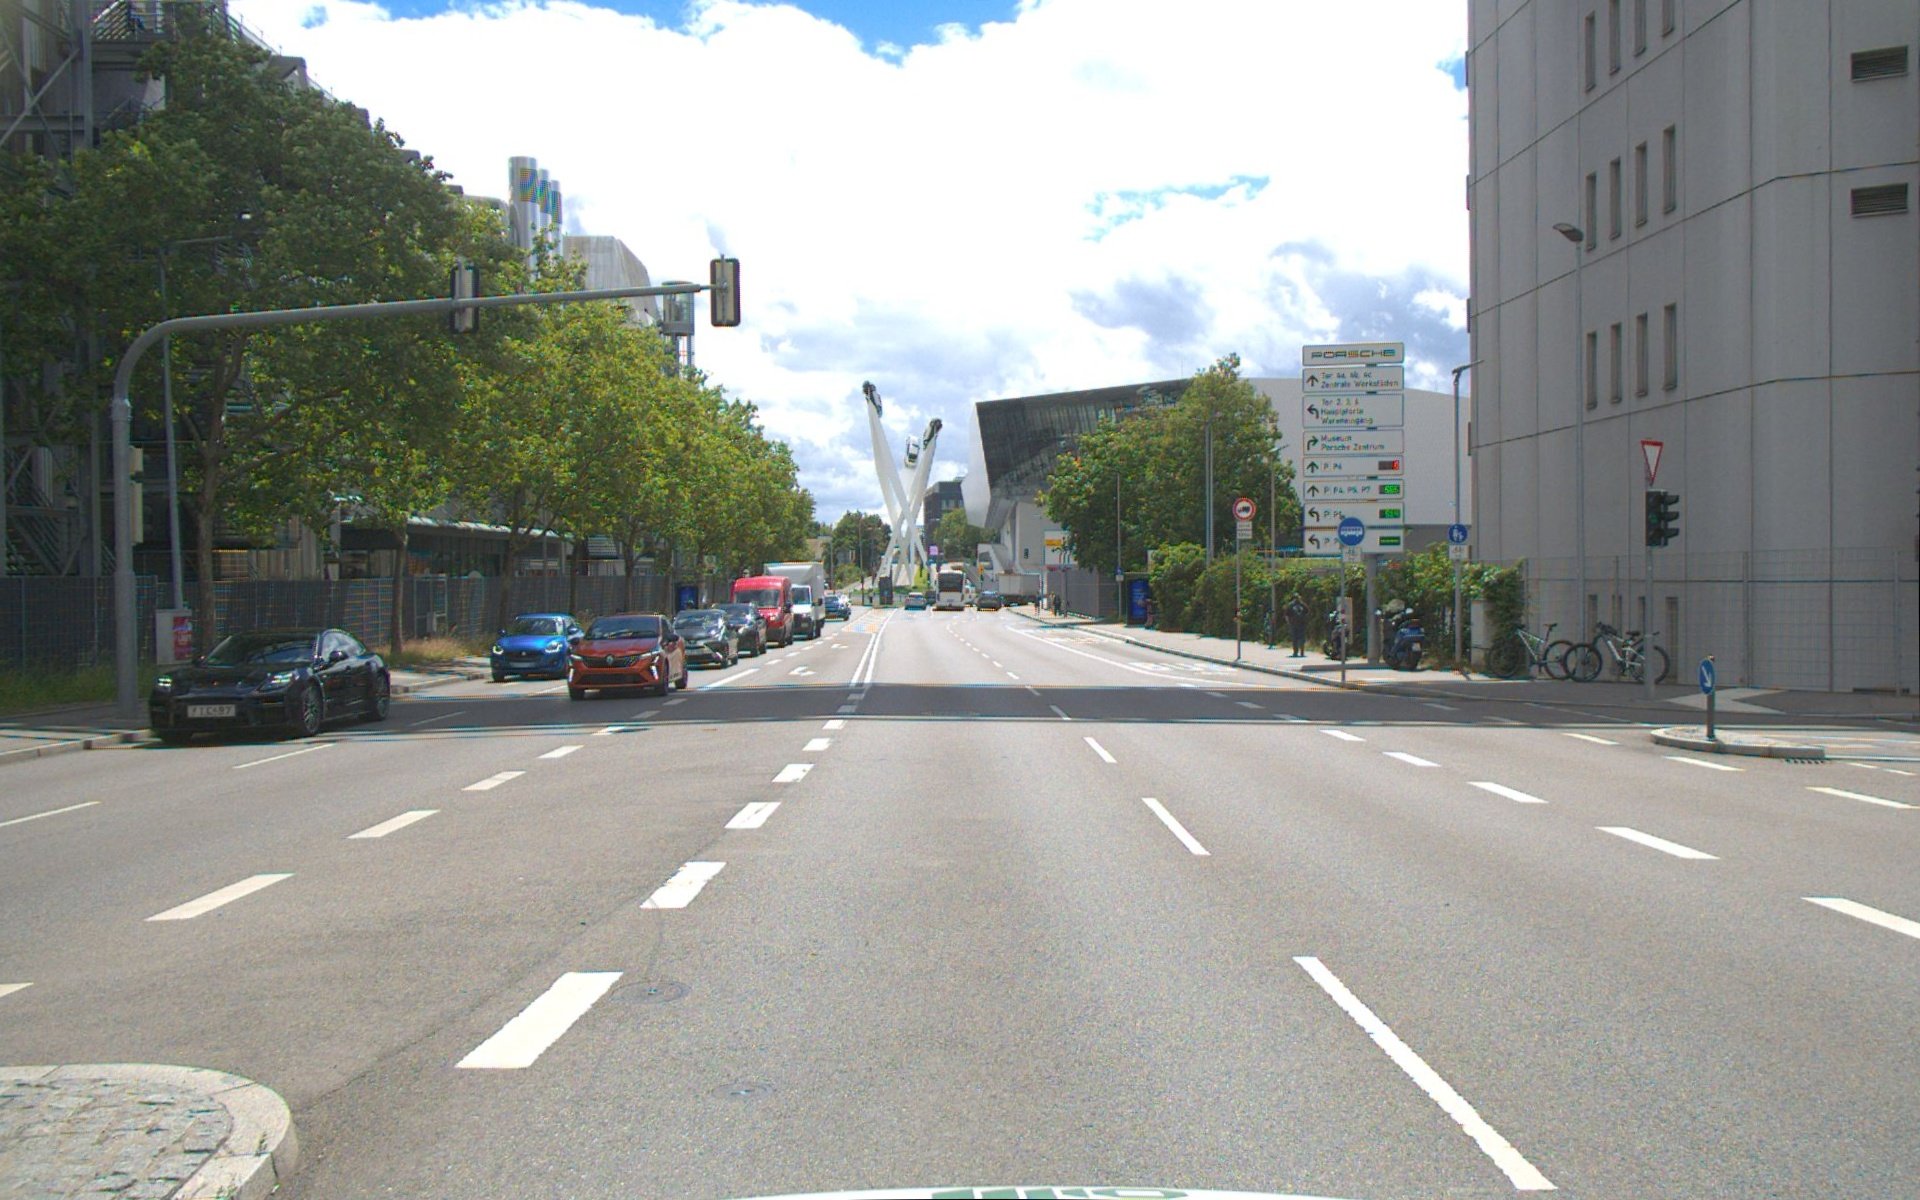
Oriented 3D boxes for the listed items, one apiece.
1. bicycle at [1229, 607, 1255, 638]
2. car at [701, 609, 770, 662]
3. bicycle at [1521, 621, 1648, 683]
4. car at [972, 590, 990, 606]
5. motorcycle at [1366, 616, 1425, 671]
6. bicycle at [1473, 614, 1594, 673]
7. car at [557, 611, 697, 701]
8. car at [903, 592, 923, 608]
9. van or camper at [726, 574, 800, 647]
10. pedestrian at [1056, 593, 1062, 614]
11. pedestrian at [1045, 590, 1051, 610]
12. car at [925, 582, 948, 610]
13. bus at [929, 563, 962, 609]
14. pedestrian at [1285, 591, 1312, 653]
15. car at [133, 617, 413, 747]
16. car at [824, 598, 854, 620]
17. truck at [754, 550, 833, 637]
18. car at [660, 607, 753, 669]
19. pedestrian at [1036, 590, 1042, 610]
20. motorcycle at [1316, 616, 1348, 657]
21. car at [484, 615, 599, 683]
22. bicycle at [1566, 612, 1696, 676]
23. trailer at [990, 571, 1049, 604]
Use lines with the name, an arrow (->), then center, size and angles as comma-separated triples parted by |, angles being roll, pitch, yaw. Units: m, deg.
bicycle -> 9.667, 0.771, 56.736 | 0.410, 1.040, 1.910 | 1, -1, -5
car -> -6.751, 1.040, 49.986 | 1.525, 1.473, 3.772 | -2, 0, 0
bicycle -> 11.696, 0.969, 31.037 | 2.180, 1.106, 0.475 | 0, -1, 35
car -> 1.802, -0.193, 141.249 | 1.525, 1.295, 3.701 | -2, 0, 1
motorcycle -> 9.592, 0.950, 36.486 | 0.410, 1.186, 1.951 | 1, -1, -11
bicycle -> 11.208, 0.840, 32.362 | 2.180, 1.106, 0.475 | 0, -1, 35
car -> -5.956, 0.967, 29.972 | 1.733, 1.445, 3.701 | -2, 0, 0
car -> -3.980, -0.028, 141.046 | 1.525, 1.295, 3.701 | -2, 0, 1
van or camper -> -7.056, 0.370, 59.732 | 2.005, 2.510, 5.594 | 0, 0, 0
pedestrian -> 6.955, 0.273, 115.968 | 0.378, 1.446, 0.423 | 1, -1, 0
pedestrian -> 6.421, 0.019, 120.475 | 0.378, 1.446, 0.423 | 1, -1, 0
car -> -2.287, -0.368, 163.494 | 1.805, 2.670, 4.002 | 1, -1, 5
bus -> -1.238, -1.184, 142.767 | 2.730, 3.750, 6.941 | 1, -1, 0
pedestrian -> 9.136, 0.591, 44.613 | 0.523, 1.669, 0.657 | 1, -1, -6
car -> -9.368, 1.049, 23.043 | 1.878, 1.514, 4.771 | -2, 0, 0
car -> -7.565, 0.550, 103.619 | 1.525, 1.295, 3.701 | -2, 0, 0
truck -> -6.867, -0.200, 69.099 | 2.538, 3.382, 7.078 | 1, -1, 0
car -> -6.376, 0.927, 41.946 | 1.733, 1.445, 3.701 | -2, 0, 0
pedestrian -> 5.720, -0.009, 120.280 | 0.378, 1.446, 0.423 | 1, -1, 0
motorcycle -> 9.767, 0.948, 43.474 | 0.448, 1.040, 1.912 | 1, -1, 1
car -> -9.684, 1.104, 38.520 | 1.692, 1.406, 3.701 | -2, 0, 0
bicycle -> 12.182, 0.782, 30.073 | 2.149, 1.106, 0.475 | 0, -1, 35
trailer -> 6.170, -1.274, 168.575 | 3.250, 3.047, 10.380 | 1, -1, 18
